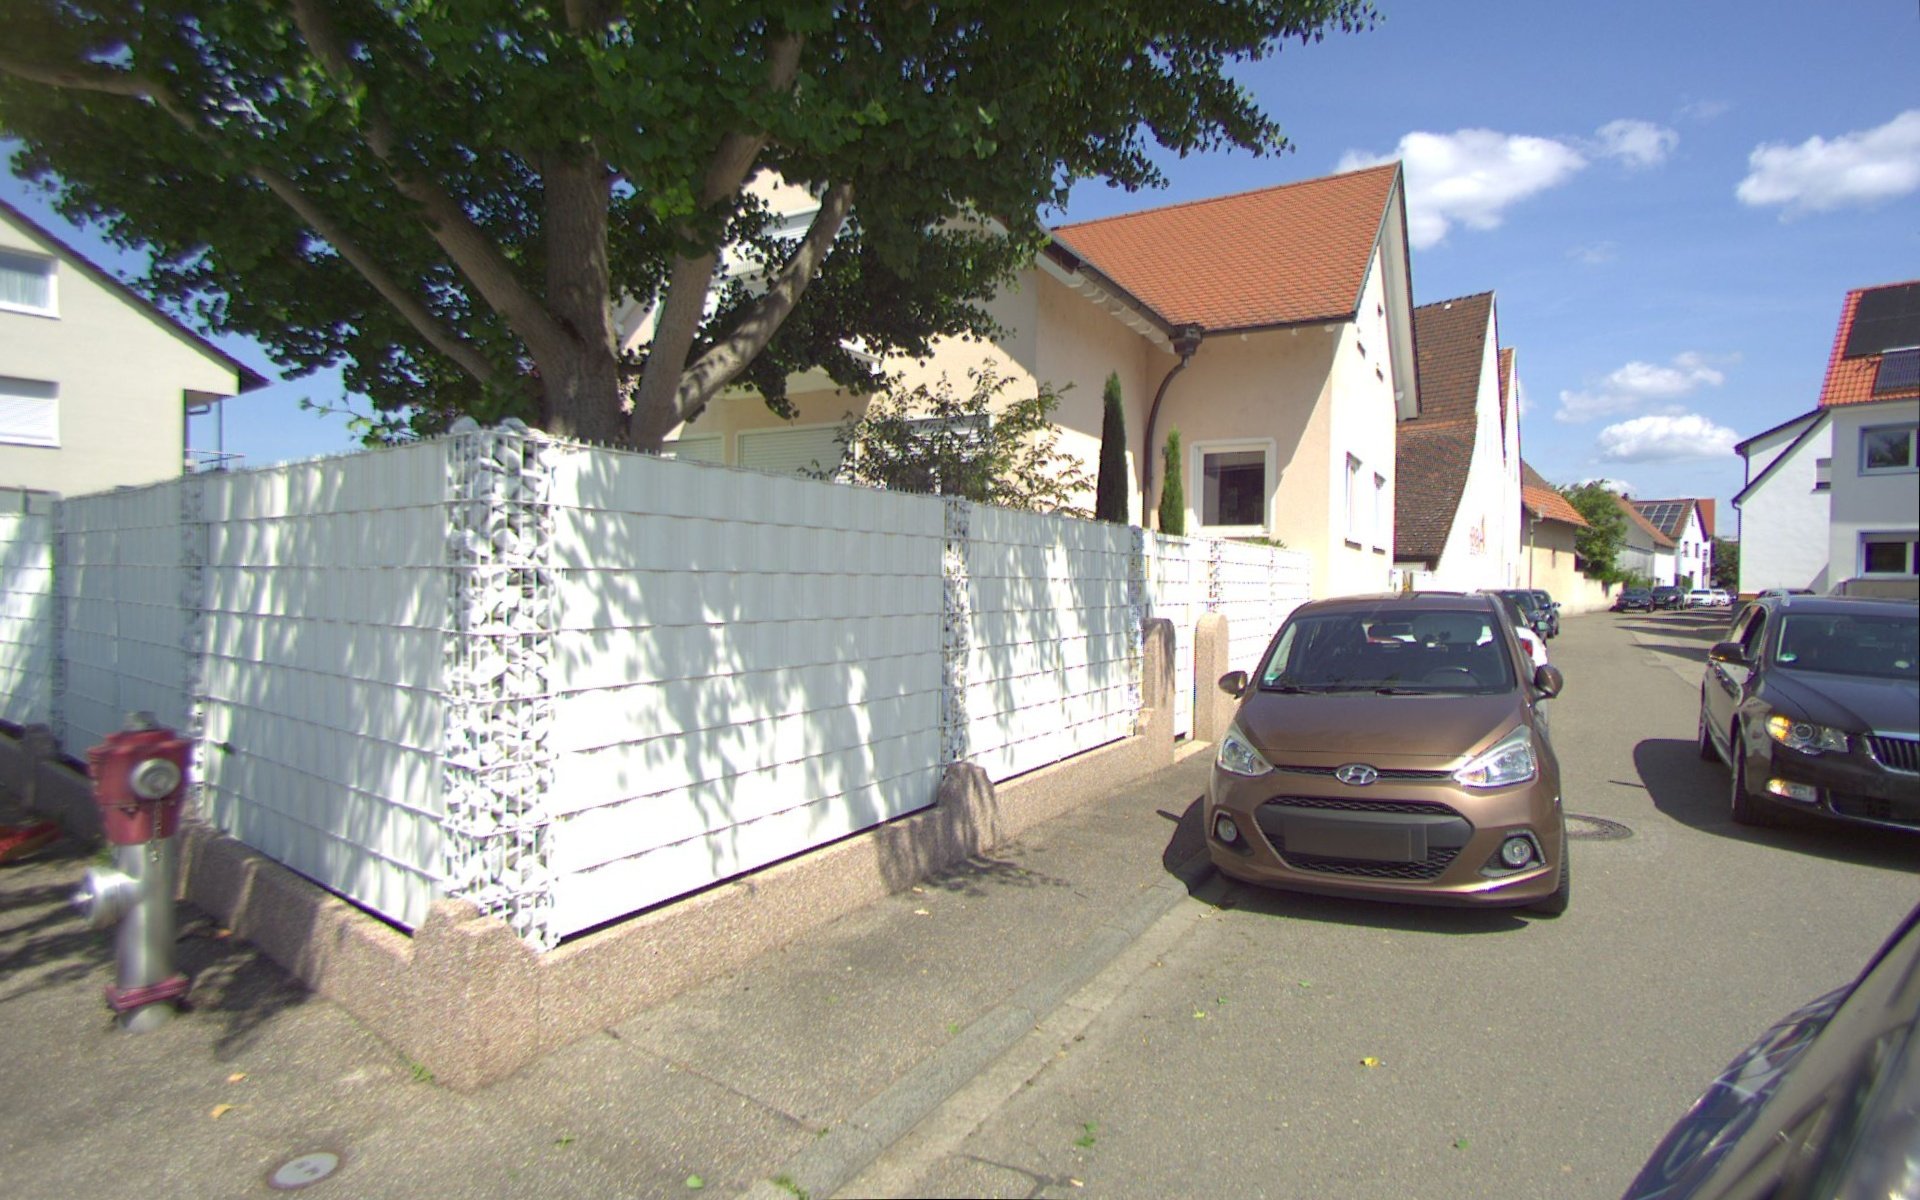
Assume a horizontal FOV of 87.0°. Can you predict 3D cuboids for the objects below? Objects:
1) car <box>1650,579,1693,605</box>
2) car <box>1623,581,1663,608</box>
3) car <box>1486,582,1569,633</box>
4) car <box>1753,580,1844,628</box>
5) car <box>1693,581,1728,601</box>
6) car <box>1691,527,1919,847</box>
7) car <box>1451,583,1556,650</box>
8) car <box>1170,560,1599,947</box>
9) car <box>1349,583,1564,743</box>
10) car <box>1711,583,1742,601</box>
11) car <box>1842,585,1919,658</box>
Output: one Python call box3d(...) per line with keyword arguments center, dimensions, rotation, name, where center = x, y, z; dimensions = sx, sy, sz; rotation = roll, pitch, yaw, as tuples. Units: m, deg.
box3d(center=(46.779, -0.548, 66.539), dimensions=(1.779, 1.629, 3.938), rotation=(-2, 0, 43), name="car")
box3d(center=(40.579, -0.331, 60.100), dimensions=(1.775, 1.497, 3.948), rotation=(2, 2, 36), name="car")
box3d(center=(17.295, 0.171, 30.751), dimensions=(1.889, 1.382, 4.361), rotation=(1, 2, 34), name="car")
box3d(center=(27.192, 0.119, 32.783), dimensions=(3.720, 1.473, 1.640), rotation=(0, 0, -40), name="car")
box3d(center=(60.388, -0.743, 81.430), dimensions=(1.779, 1.519, 3.977), rotation=(-2, 0, 43), name="car")
box3d(center=(6.254, 0.589, 6.830), dimensions=(1.775, 1.554, 4.652), rotation=(6, 0, 33), name="car")
box3d(center=(12.953, 0.308, 23.985), dimensions=(1.887, 1.382, 4.683), rotation=(1, 2, 32), name="car")
box3d(center=(2.764, 0.608, 6.238), dimensions=(1.702, 1.552, 3.994), rotation=(-3, 0, 29), name="car")
box3d(center=(5.941, 0.547, 11.930), dimensions=(1.885, 1.446, 4.688), rotation=(1, 1, 29), name="car")
box3d(center=(68.714, -0.730, 90.717), dimensions=(1.779, 1.519, 3.977), rotation=(-2, 0, 43), name="car")
box3d(center=(20.200, 0.398, 21.235), dimensions=(4.389, 1.366, 1.774), rotation=(-2, 1, -38), name="car")
